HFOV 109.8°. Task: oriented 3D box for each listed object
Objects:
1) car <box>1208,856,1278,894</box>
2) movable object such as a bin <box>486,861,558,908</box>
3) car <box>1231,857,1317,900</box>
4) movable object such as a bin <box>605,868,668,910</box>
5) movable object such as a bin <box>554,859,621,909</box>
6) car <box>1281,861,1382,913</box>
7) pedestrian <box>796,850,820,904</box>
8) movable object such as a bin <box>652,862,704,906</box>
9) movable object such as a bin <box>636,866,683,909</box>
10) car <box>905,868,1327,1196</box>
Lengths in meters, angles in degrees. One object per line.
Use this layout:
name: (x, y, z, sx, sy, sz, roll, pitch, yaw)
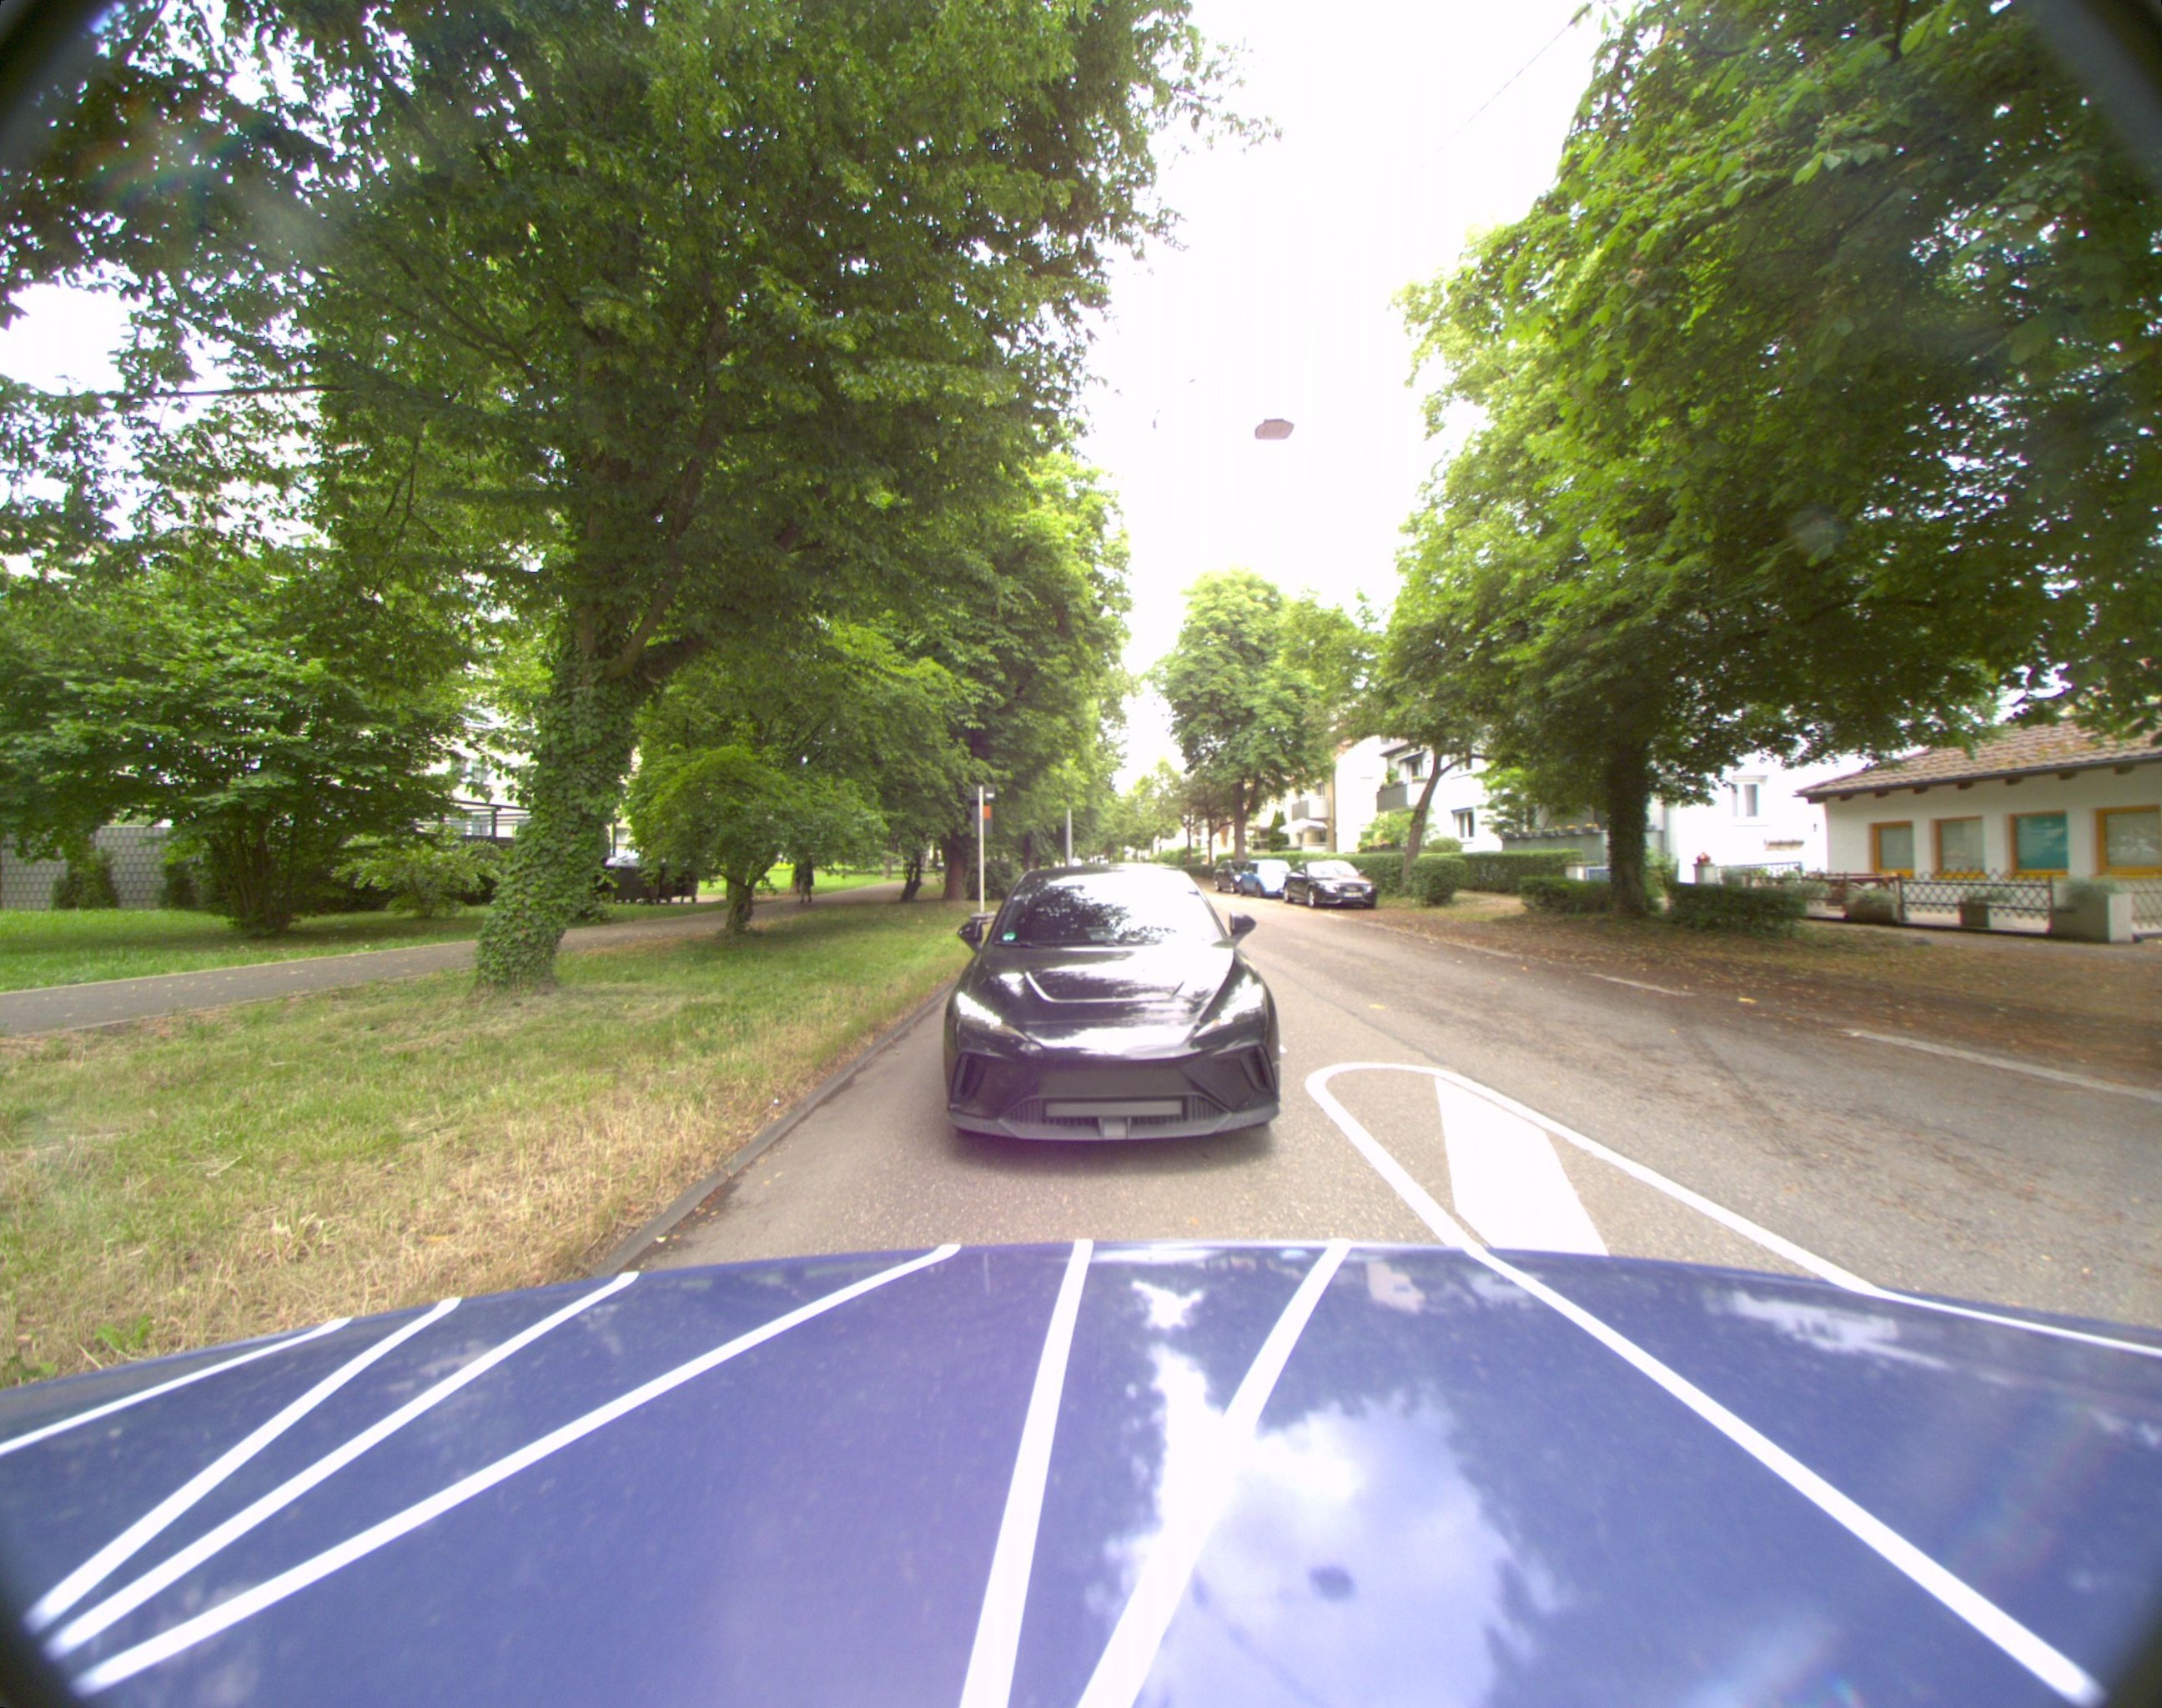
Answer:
car: (7.079, 0.879, 33.664, 1.889, 1.524, 4.565, 0, 0, -3)
movable object such as a bin: (-16.511, 0.891, 22.495, 1.194, 1.334, 1.348, 0, 0, -8)
car: (7.209, 0.877, 28.910, 1.889, 1.492, 4.565, 0, 0, -3)
movable object such as a bin: (-13.253, 1.023, 22.690, 1.194, 1.213, 1.348, 0, 0, -8)
movable object such as a bin: (-14.570, 0.867, 22.497, 1.194, 1.448, 1.348, 0, 0, -8)
car: (7.408, 0.912, 22.889, 1.735, 1.394, 4.172, 0, 0, 1)
pedestrian: (-8.968, 0.756, 25.001, 0.565, 1.730, 0.570, 1, 0, 0)
movable object such as a bin: (-13.241, 0.982, 24.982, 1.194, 1.405, 1.110, 0, 0, -8)
movable object such as a bin: (-13.238, 1.042, 23.889, 1.026, 1.296, 0.960, 0, 0, -8)
car: (0.189, 0.890, 5.910, 1.998, 1.491, 4.615, 0, 0, 1)
